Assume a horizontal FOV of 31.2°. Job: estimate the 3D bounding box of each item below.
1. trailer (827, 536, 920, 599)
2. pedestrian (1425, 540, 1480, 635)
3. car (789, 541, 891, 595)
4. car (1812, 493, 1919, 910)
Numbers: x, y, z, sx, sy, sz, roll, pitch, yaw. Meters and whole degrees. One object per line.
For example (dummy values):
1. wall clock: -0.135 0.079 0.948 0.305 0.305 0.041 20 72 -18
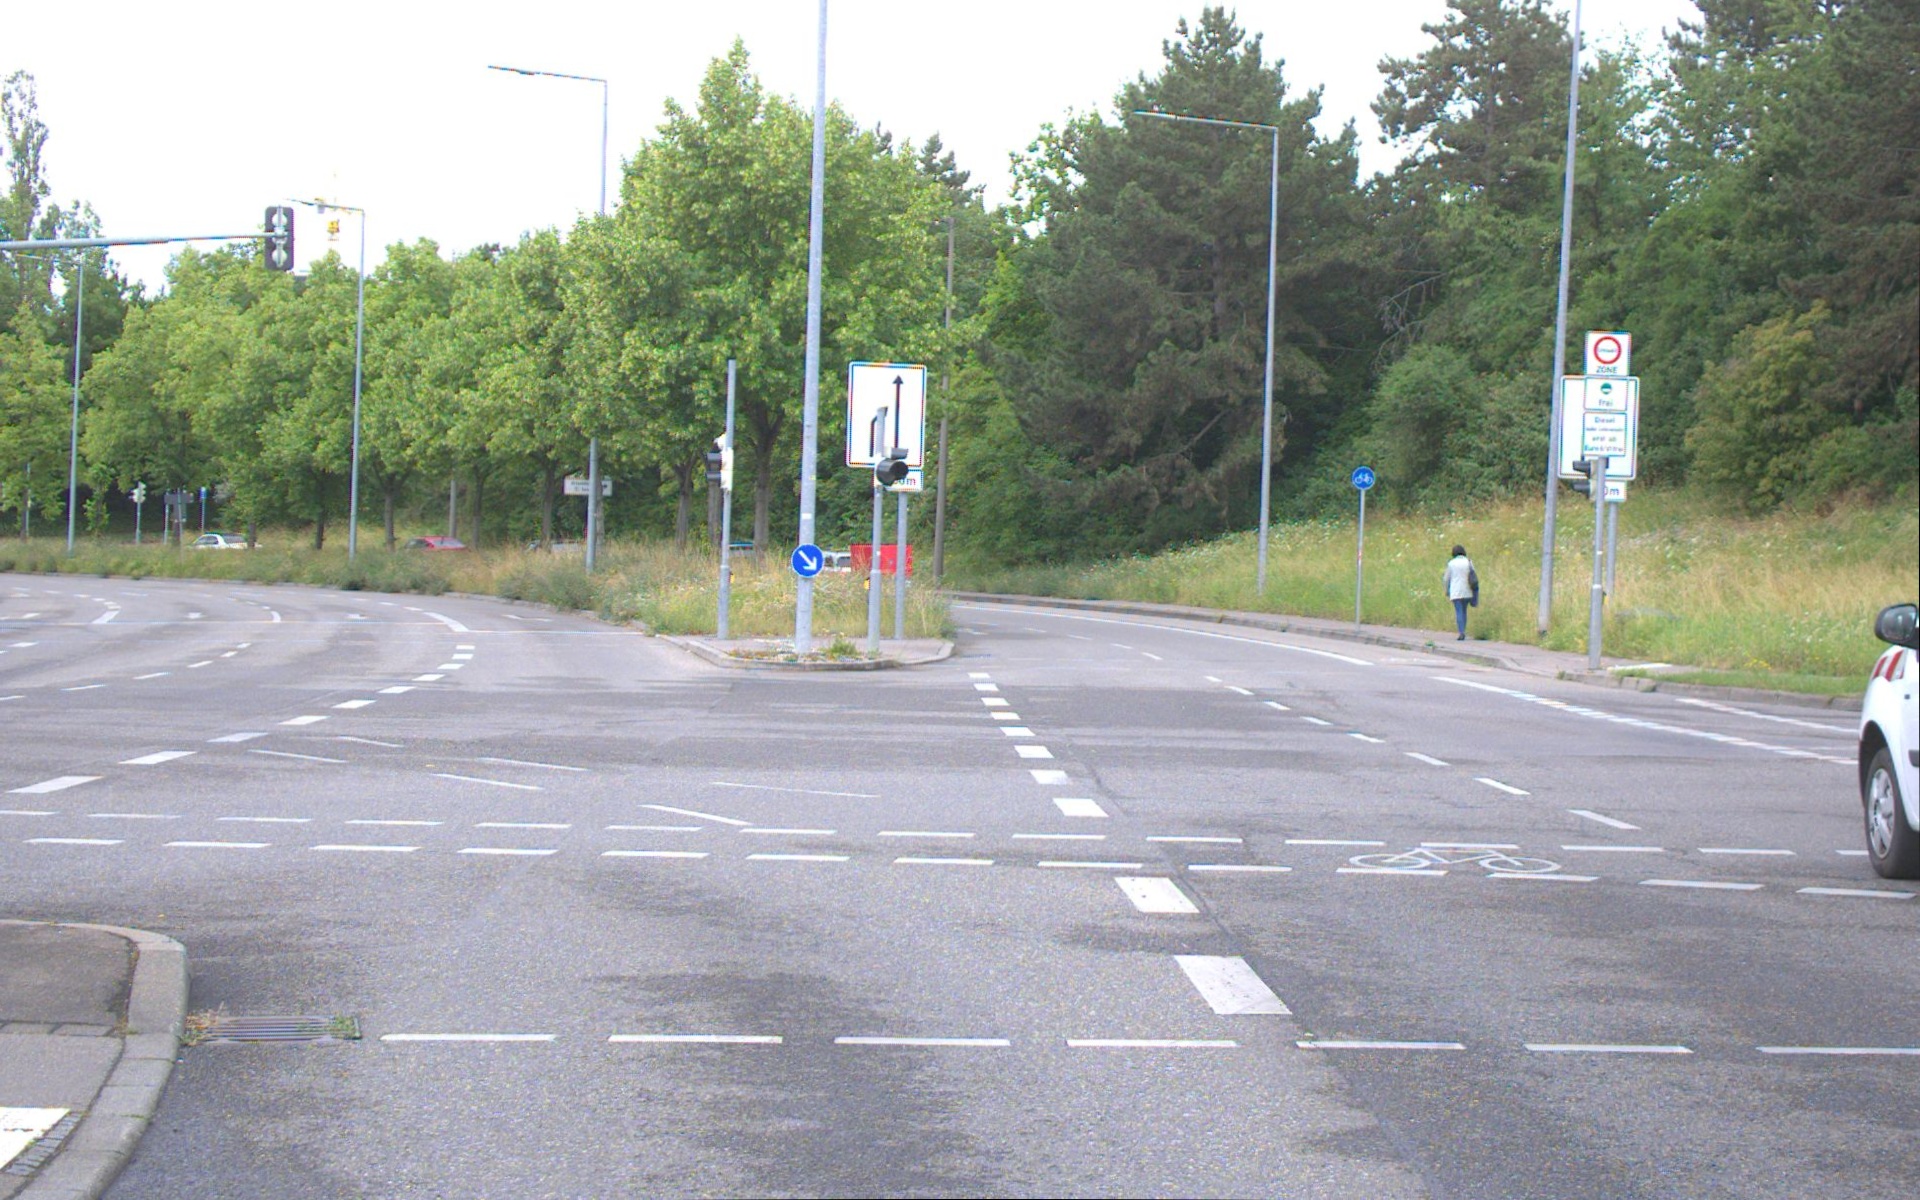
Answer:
1. trailer: -2.343 -0.881 92.248 1.764 1.610 3.045 0 1 -16
2. pedestrian: 8.561 -0.224 59.814 0.814 1.622 0.791 1 1 -1
3. car: -3.380 -0.895 95.846 1.777 1.416 4.460 0 1 -16
4. car: 5.135 0.445 14.269 1.994 1.796 4.839 0 0 0
